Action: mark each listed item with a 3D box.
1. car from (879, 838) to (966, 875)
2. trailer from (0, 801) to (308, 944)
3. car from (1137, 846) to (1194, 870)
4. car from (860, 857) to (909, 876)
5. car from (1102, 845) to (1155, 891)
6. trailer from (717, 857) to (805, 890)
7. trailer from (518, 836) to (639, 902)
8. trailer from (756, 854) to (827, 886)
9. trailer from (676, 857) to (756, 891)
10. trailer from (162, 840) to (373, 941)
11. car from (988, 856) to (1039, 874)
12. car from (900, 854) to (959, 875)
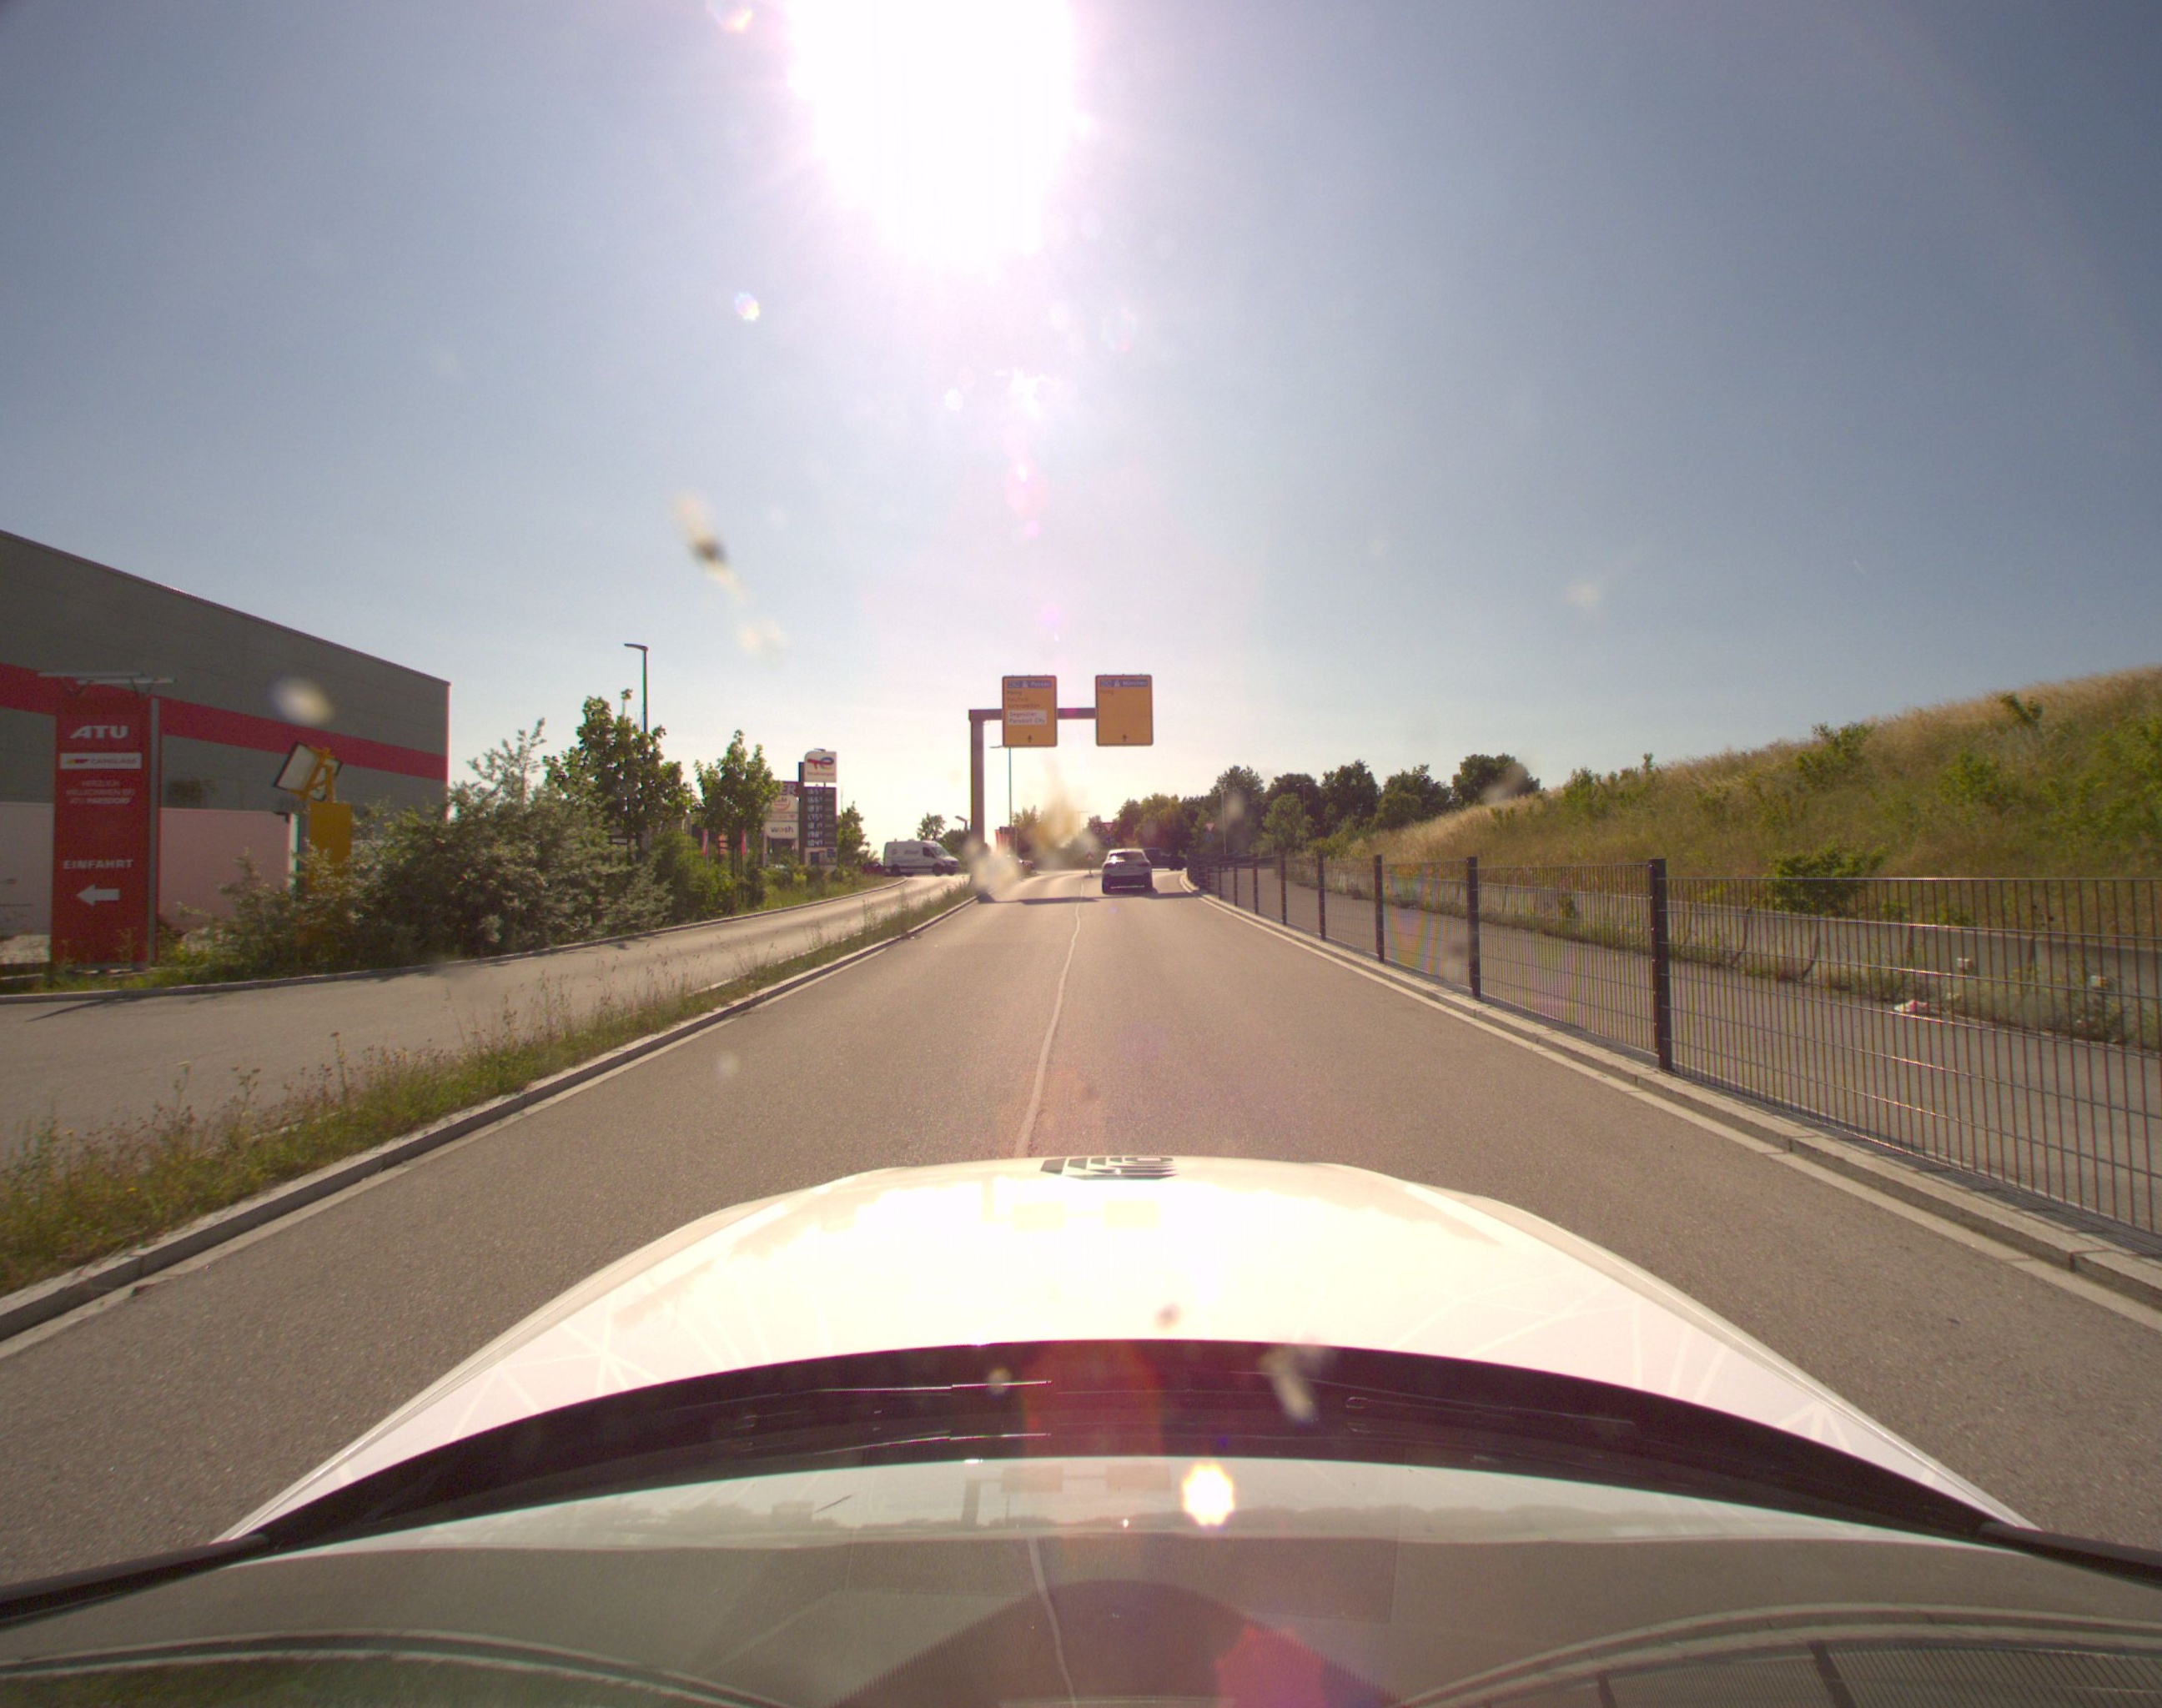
[{"bbox_3d":[-11.675,0.208,59.777,6.118,2.554,2.102,-1,-1,24],"label":"car"},{"bbox_3d":[-14.783,0.275,13.132,3.223,2.014,1.977,0,-1,-40],"label":"trailer"},{"bbox_3d":[6.067,0.304,58.731,3.834,1.717,1.999,0,-1,-2],"label":"car"},{"bbox_3d":[-17.020,1.058,70.636,3.695,1.618,1.880,-1,-1,15],"label":"car"},{"bbox_3d":[1.718,0.507,30.687,1.834,1.596,4.326,-1,0,1],"label":"car"},{"bbox_3d":[-15.859,0.983,40.371,3.711,1.452,1.690,3,-3,-35],"label":"trailer"},{"bbox_3d":[-16.270,0.460,26.455,3.251,2.014,1.730,0,-1,-32],"label":"trailer"},{"bbox_3d":[-17.739,0.948,49.938,3.713,1.771,1.788,-2,1,-35],"label":"trailer"},{"bbox_3d":[-19.636,1.039,43.845,3.712,1.772,1.788,0,-1,-35],"label":"trailer"},{"bbox_3d":[-17.402,0.728,17.630,2.743,2.014,1.982,0,-1,-28],"label":"trailer"},{"bbox_3d":[-5.422,0.882,65.656,3.782,1.405,1.630,0,-1,9],"label":"car"},{"bbox_3d":[-16.599,1.103,89.466,6.306,2.234,2.016,0,-1,-40],"label":"car"}]
